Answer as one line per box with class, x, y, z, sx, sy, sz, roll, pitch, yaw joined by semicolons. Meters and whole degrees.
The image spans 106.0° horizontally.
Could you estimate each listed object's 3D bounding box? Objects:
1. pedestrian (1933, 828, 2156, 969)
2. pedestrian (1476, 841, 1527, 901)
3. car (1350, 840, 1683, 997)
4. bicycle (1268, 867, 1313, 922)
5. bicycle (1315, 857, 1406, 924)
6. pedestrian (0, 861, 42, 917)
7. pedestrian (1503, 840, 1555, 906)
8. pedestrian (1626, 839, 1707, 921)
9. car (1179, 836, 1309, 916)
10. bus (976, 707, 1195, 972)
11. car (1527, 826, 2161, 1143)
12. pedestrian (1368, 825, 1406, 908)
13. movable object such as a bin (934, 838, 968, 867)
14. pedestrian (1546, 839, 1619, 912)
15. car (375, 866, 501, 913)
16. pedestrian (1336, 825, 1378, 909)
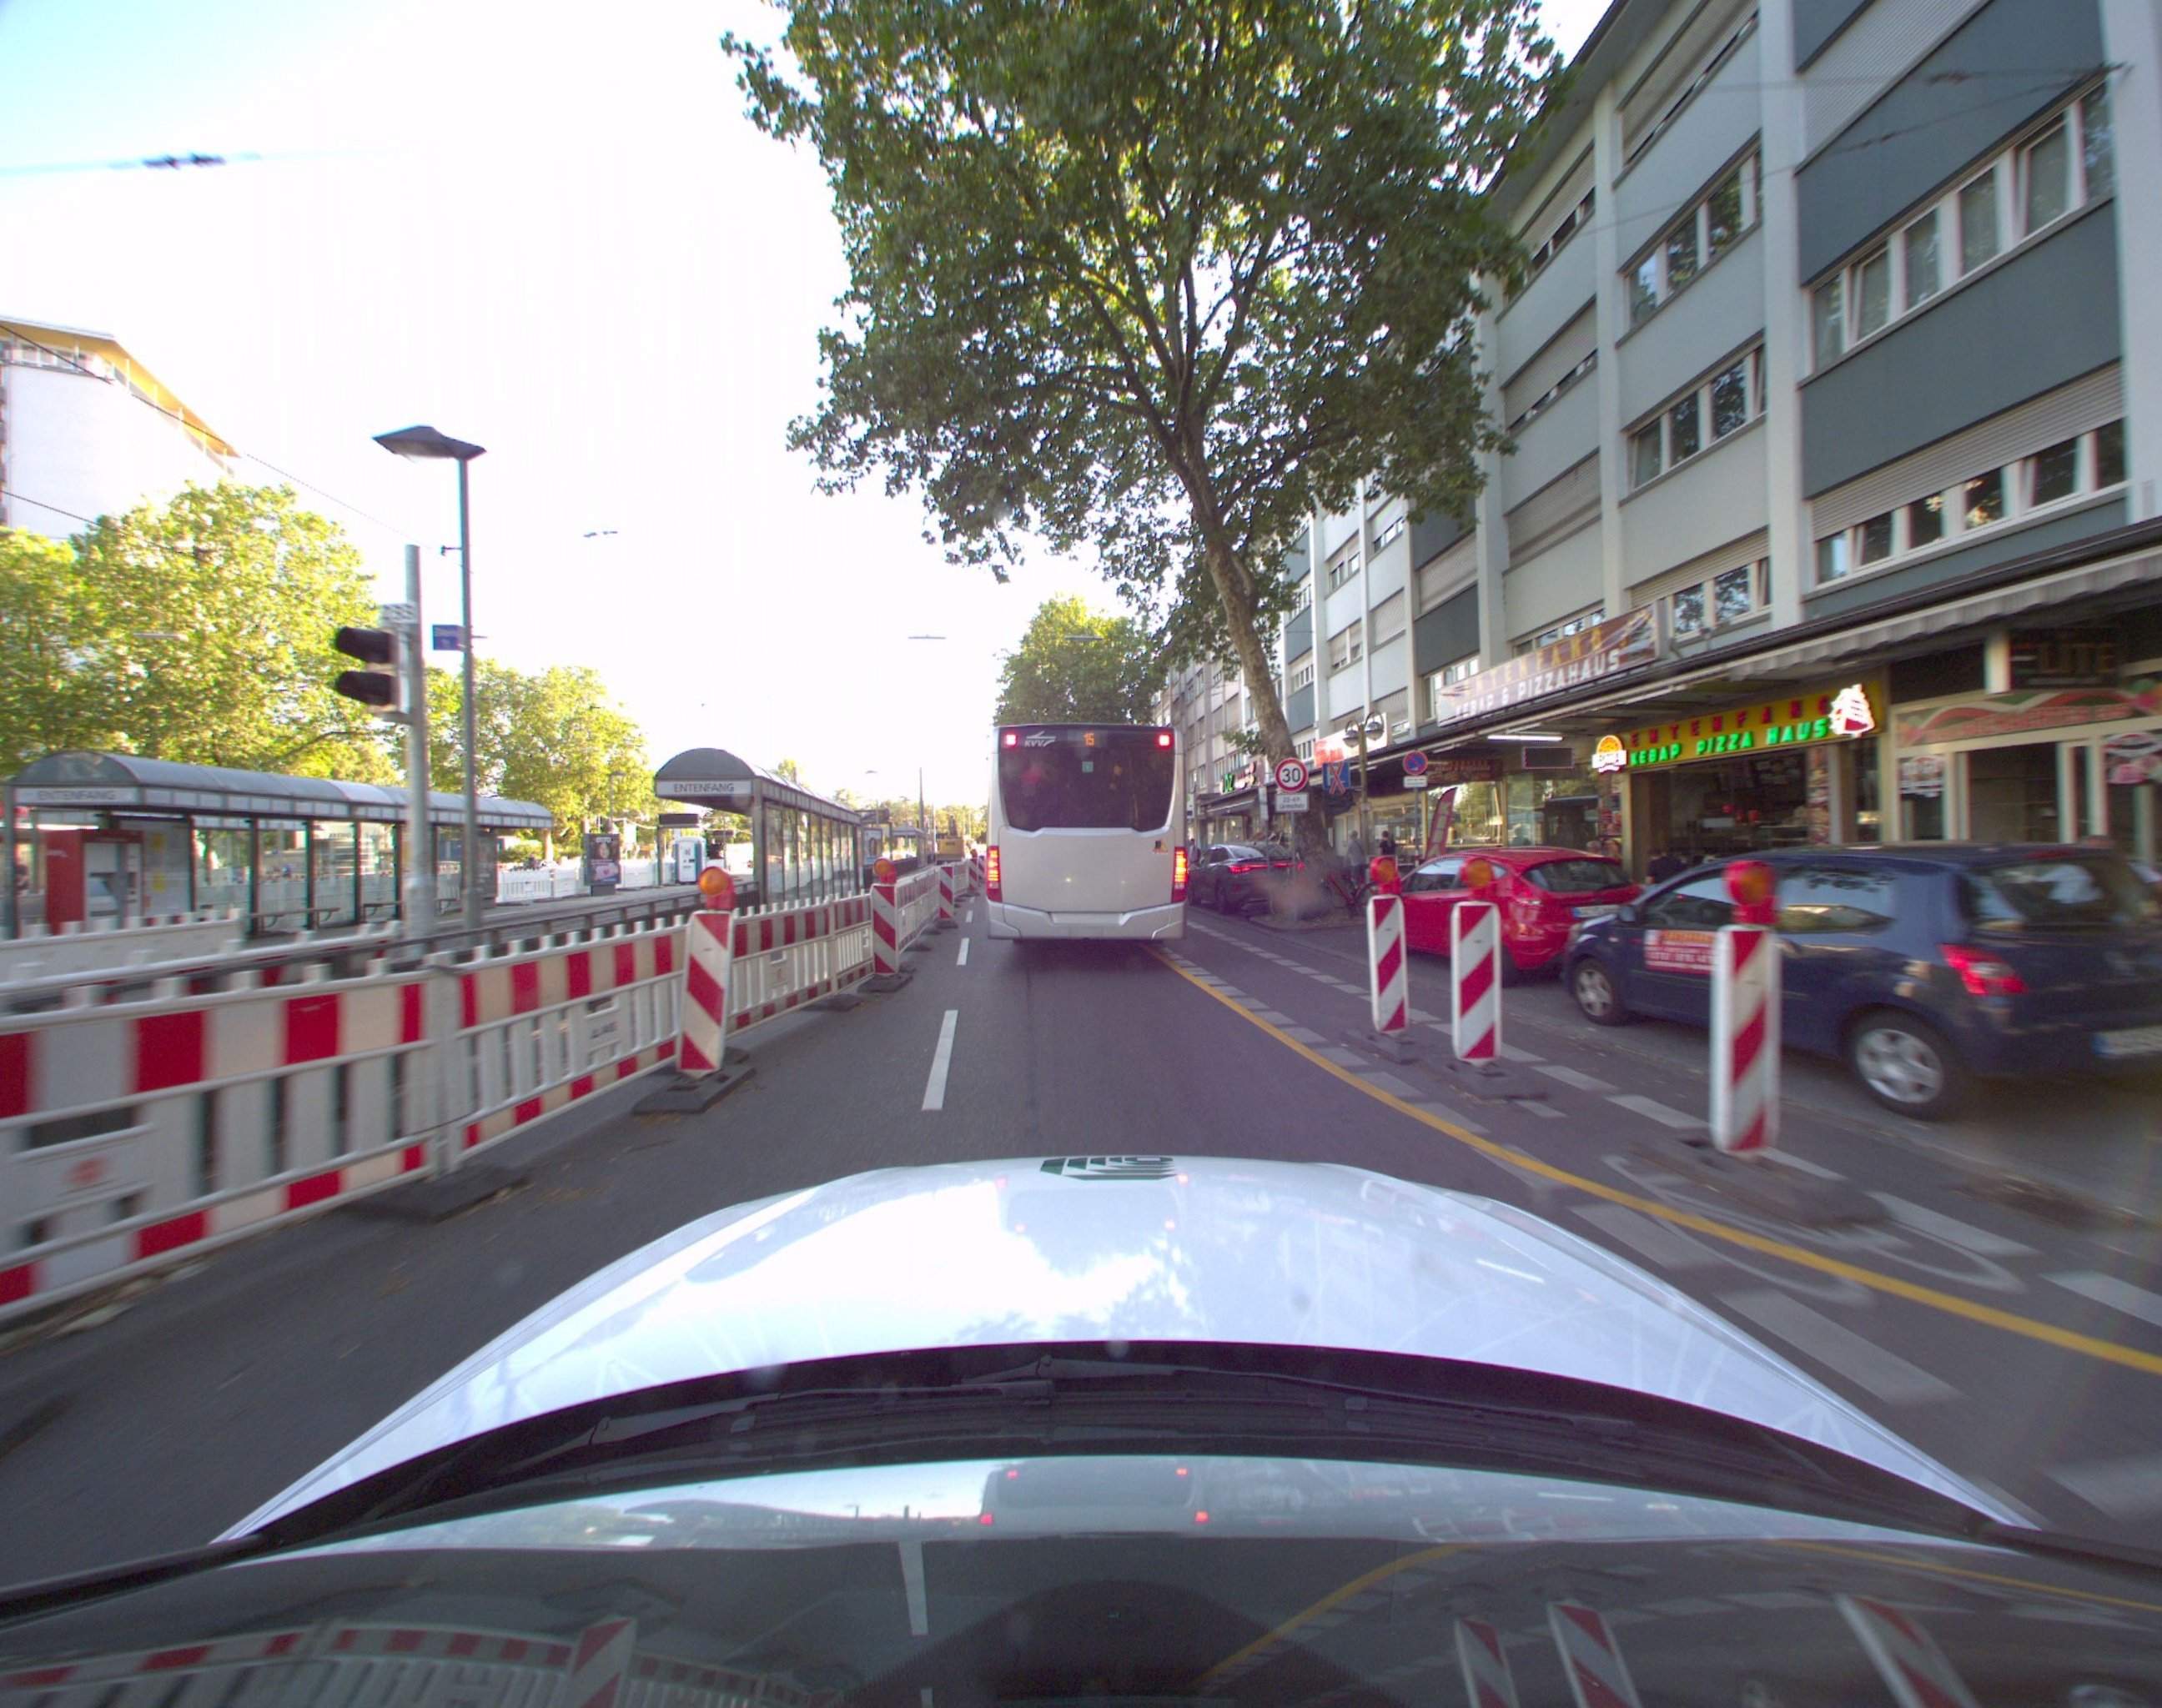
pedestrian;9.461;0.415;8.041;1.199;1.232;0.779;-5;0;-1
pedestrian;8.976;0.361;17.407;0.673;1.203;0.706;-5;0;7
car;4.975;0.620;9.990;1.664;1.429;3.839;-4;1;-7
bicycle;3.949;0.748;15.404;0.295;0.927;1.126;-6;3;-12
bicycle;5.017;0.651;14.657;1.451;1.066;0.296;-5;3;9
pedestrian;-34.756;1.138;26.709;0.569;1.809;0.608;-2;0;-19
pedestrian;8.984;0.376;16.369;0.612;1.243;0.713;-5;0;7
pedestrian;8.810;0.382;12.284;0.592;1.156;0.752;-4;0;-1
car;3.759;0.463;19.544;1.738;1.597;4.289;-4;1;-7
bus;0.040;-0.204;14.991;2.600;3.169;10.289;-1;0;0
car;5.148;0.619;5.856;1.616;1.466;3.599;-4;1;-5
pedestrian;7.605;0.293;20.234;0.611;2.013;0.696;-2;0;-2
movable object such as a bin;-11.487;-0.128;72.221;2.804;2.461;3.990;-2;0;-7
pedestrian;9.002;0.382;14.643;0.859;1.220;0.699;-5;0;12
car;-27.239;1.452;34.726;1.945;1.654;4.680;-2;1;-6
pedestrian;6.729;0.307;19.882;0.689;2.013;0.695;-2;0;-5
